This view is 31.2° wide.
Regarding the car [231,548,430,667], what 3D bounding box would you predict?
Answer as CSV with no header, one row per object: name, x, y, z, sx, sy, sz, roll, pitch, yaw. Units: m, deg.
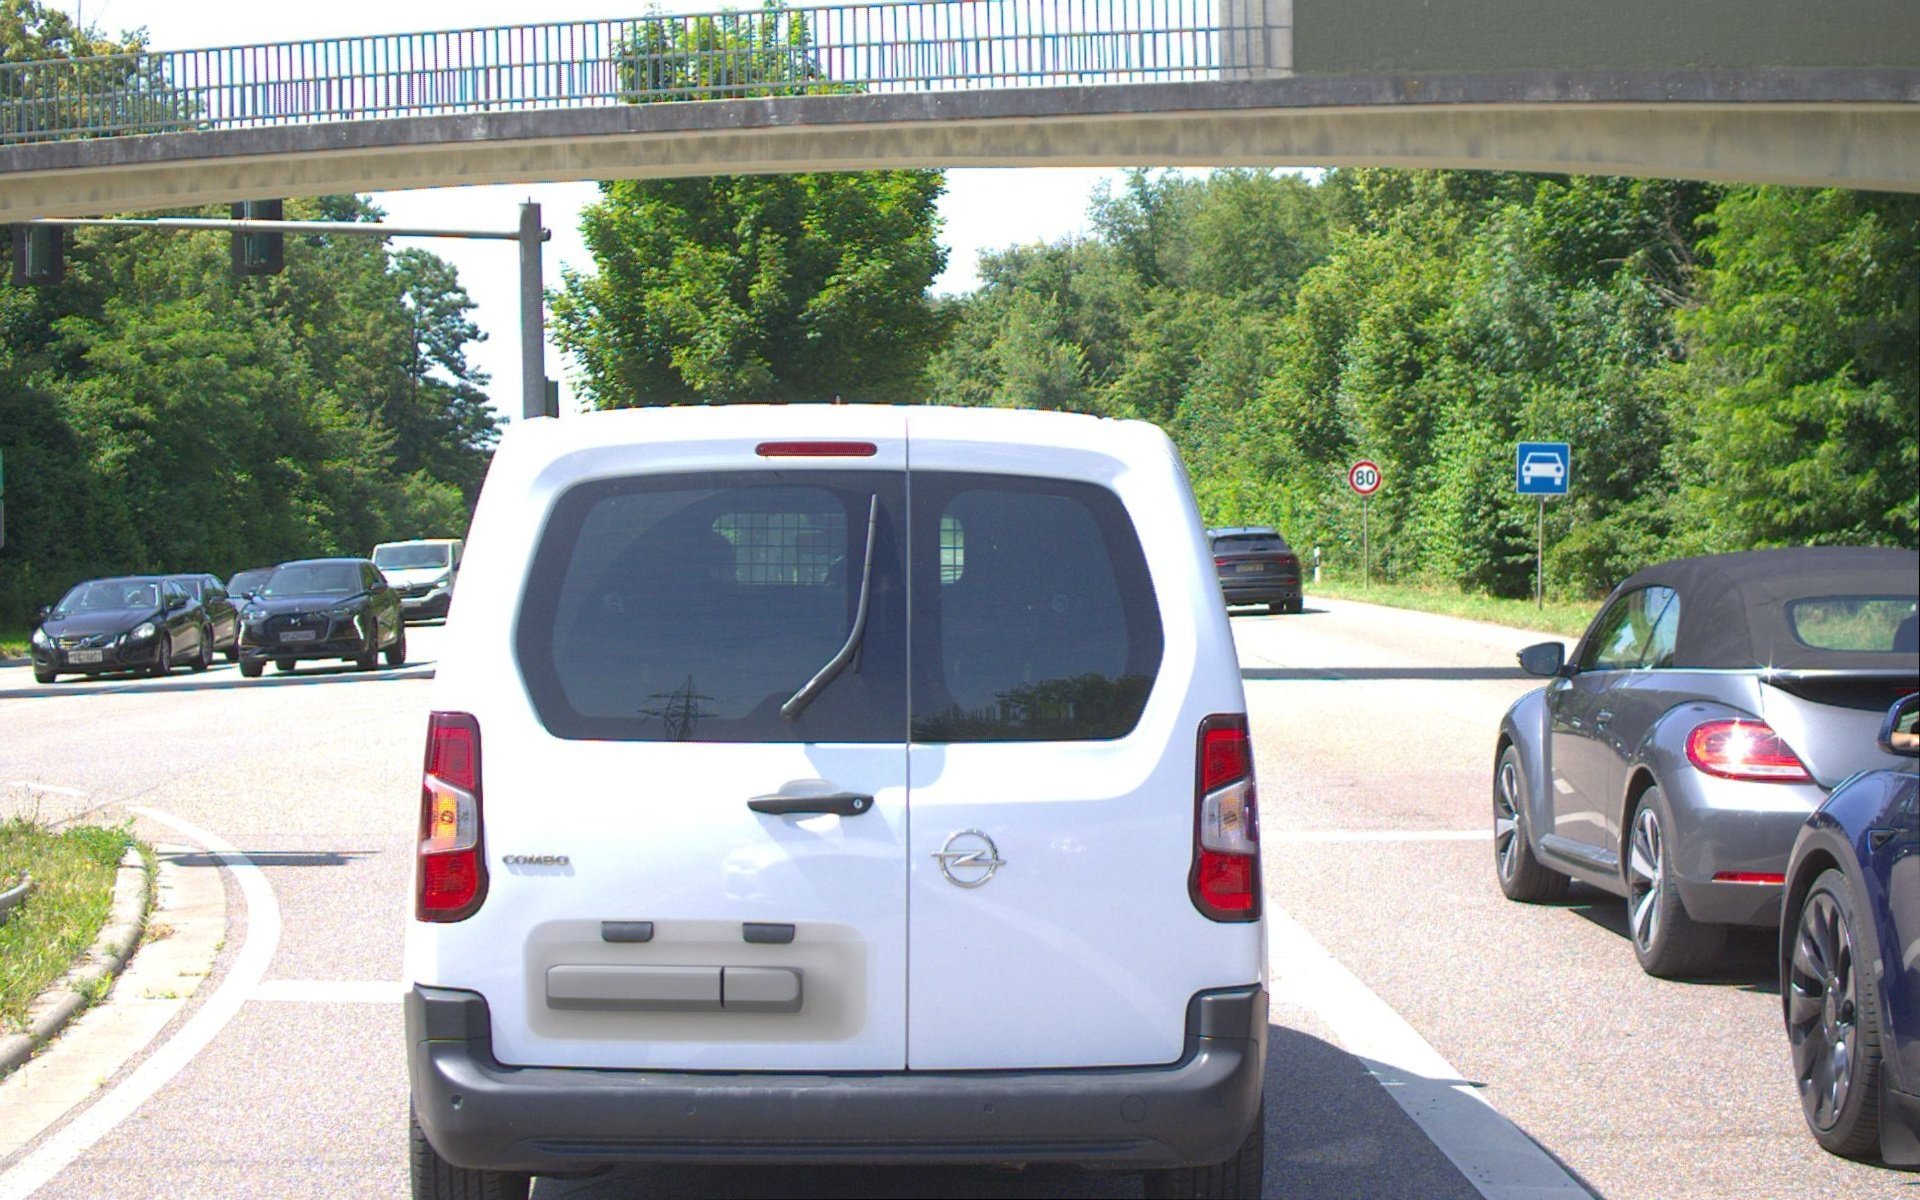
car,-8.447,0.066,46.450,1.993,1.518,4.028,0,1,-1

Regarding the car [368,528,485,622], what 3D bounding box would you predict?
car,-12.184,-0.597,78.784,2.208,1.986,5.489,-2,1,-5

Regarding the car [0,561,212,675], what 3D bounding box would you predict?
car,-12.114,0.224,49.021,2.008,1.455,4.055,-2,1,-1

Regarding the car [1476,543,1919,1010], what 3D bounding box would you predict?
car,3.227,0.540,12.968,1.900,1.472,3.939,1,1,-1

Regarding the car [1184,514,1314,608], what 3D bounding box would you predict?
car,5.471,-0.786,65.618,2.042,1.693,5.086,-1,1,0

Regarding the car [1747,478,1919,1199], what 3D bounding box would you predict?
car,3.055,0.578,6.765,1.900,1.639,4.520,1,1,-1

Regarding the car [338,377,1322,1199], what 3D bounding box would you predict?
car,-0.301,0.438,8.511,1.849,1.819,3.982,1,2,-2

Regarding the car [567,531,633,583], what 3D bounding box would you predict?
car,-14.676,-1.763,140.440,2.208,1.986,4.734,-2,1,-1
